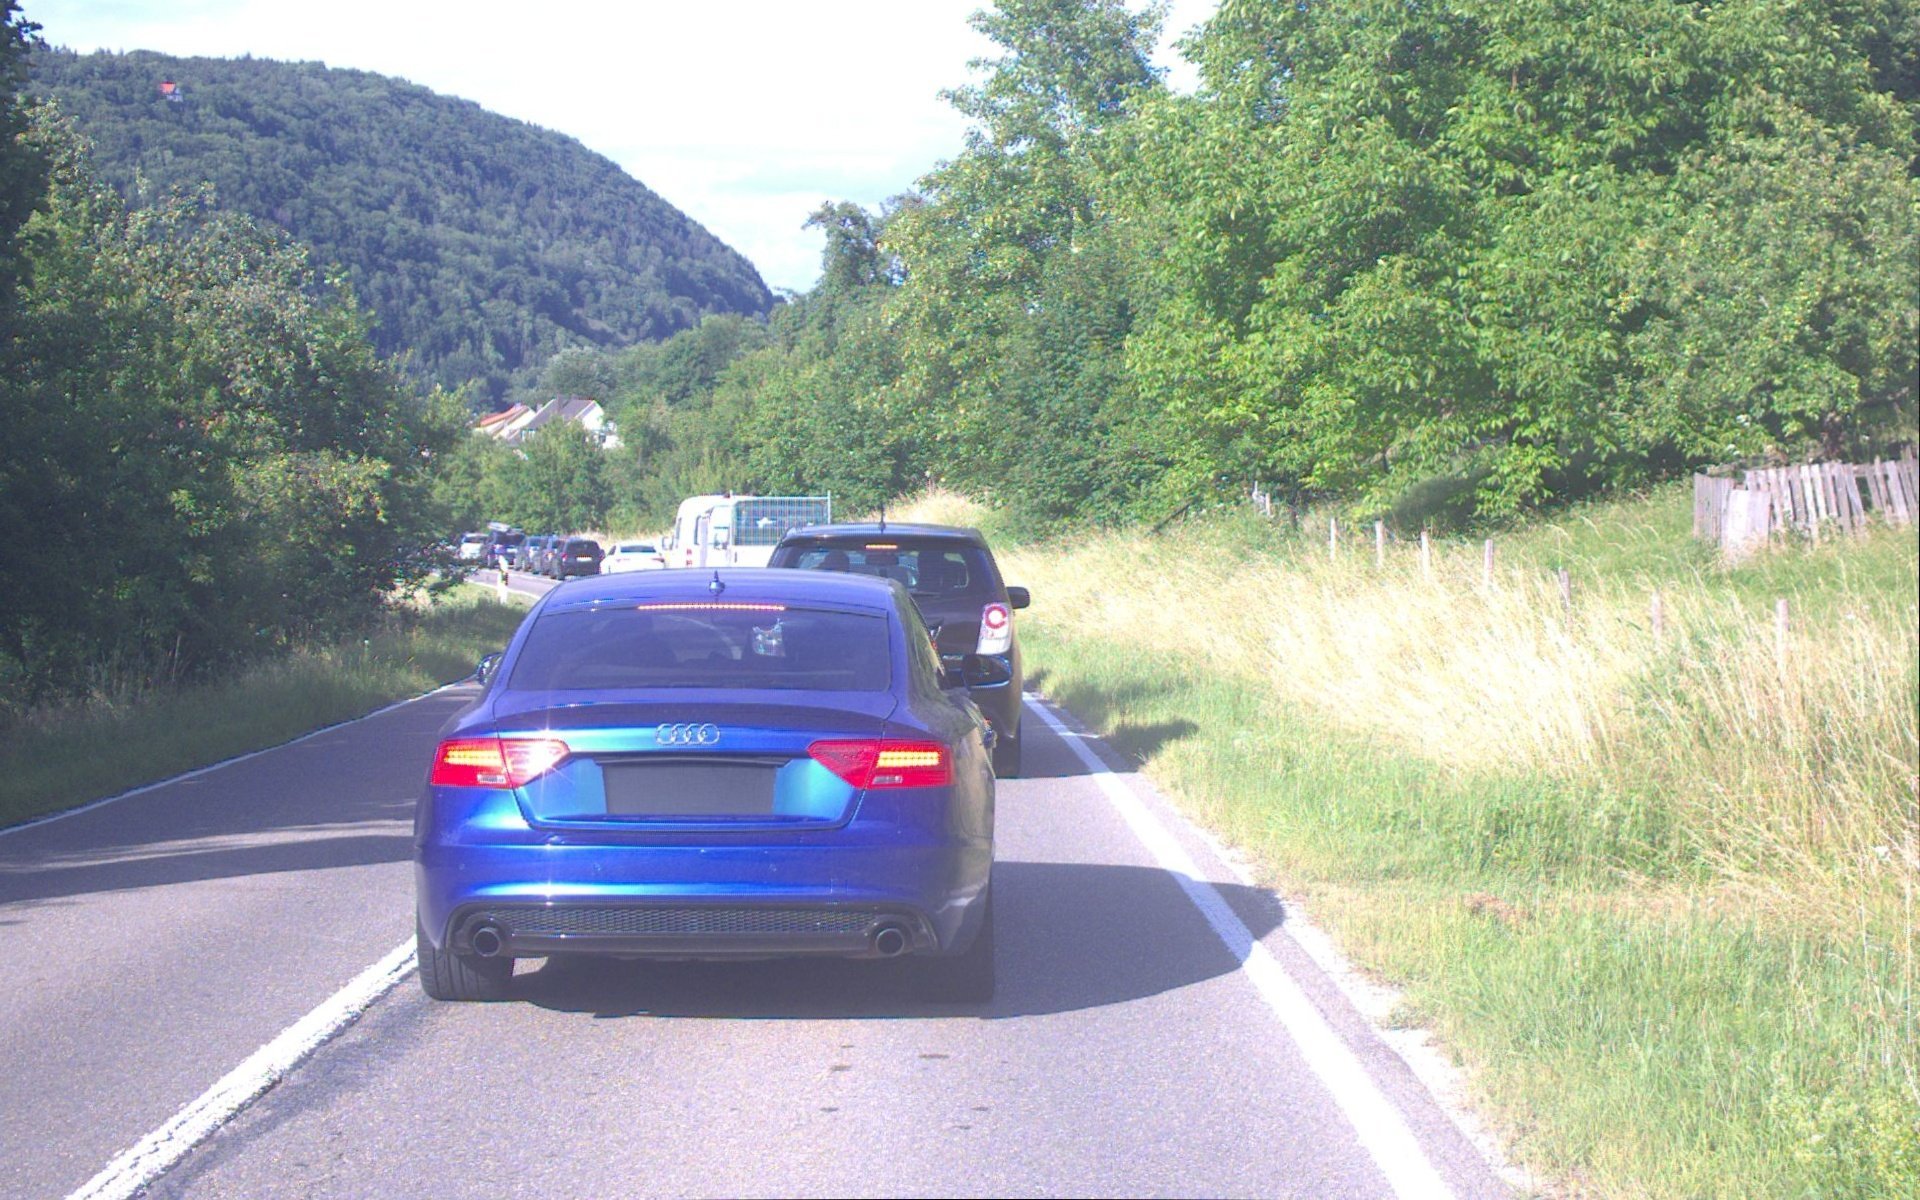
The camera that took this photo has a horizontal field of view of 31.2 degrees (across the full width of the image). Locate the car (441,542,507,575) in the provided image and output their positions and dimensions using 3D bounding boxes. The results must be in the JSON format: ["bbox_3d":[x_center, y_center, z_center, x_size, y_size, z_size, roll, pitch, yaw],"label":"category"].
[{"bbox_3d":[-22.167,-1.905,156.576,1.993,1.477,4.001,0,1,-23],"label":"car"}]

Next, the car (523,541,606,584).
[{"bbox_3d":[-14.118,-1.345,122.689,1.993,1.477,4.001,1,1,-21],"label":"car"}]

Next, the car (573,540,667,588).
[{"bbox_3d":[-10.947,-1.162,110.537,1.993,1.477,4.001,1,1,-21],"label":"car"}]

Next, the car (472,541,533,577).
[{"bbox_3d":[-19.726,-1.766,148.142,1.993,1.477,4.001,1,1,-17],"label":"car"}]

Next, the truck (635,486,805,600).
[{"bbox_3d":[-6.163,-1.430,86.474,2.863,2.656,10.648,1,1,-12],"label":"truck"}]

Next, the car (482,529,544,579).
[{"bbox_3d":[-18.242,-1.863,140.181,1.993,2.007,4.001,1,0,-15],"label":"car"}]

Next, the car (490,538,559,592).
[{"bbox_3d":[-16.689,-1.335,131.686,1.993,2.007,4.001,1,0,-16],"label":"car"}]

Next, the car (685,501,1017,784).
[{"bbox_3d":[-0.688,0.239,22.836,1.993,1.696,4.000,1,0,-1],"label":"car"}]

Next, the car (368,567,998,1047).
[{"bbox_3d":[-0.791,0.576,11.870,1.793,1.355,4.000,1,1,0],"label":"car"}]

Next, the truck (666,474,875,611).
[{"bbox_3d":[-4.133,-1.212,72.352,2.863,2.656,10.396,1,1,-12],"label":"truck"}]

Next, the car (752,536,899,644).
[{"bbox_3d":[-1.894,-0.157,49.415,1.993,1.477,4.000,1,1,-1],"label":"car"}]
